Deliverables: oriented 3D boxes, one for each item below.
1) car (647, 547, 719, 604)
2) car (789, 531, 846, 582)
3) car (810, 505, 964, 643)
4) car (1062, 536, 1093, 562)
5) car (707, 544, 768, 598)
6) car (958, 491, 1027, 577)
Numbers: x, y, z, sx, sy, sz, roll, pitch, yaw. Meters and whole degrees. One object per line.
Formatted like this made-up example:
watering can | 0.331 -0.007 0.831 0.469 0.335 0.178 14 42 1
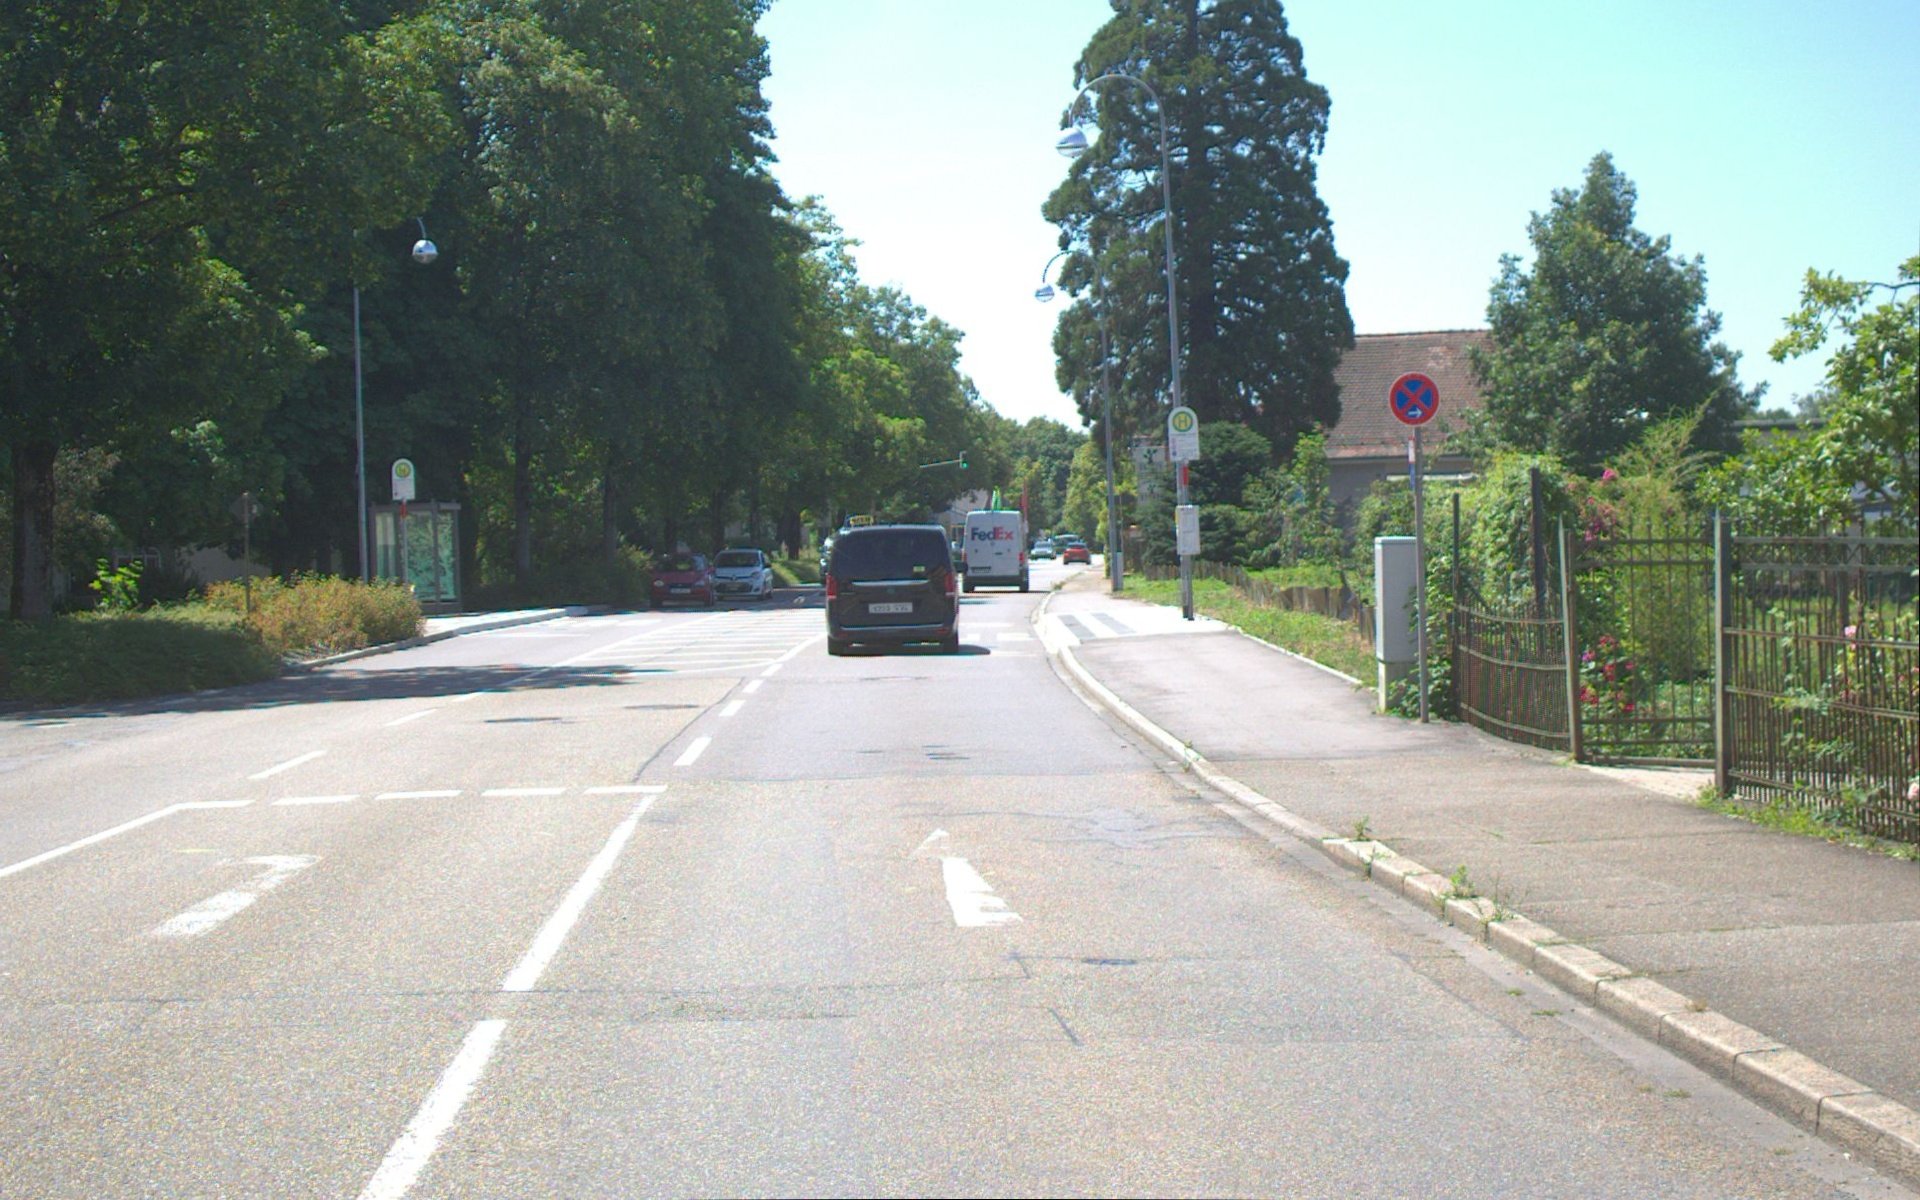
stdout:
car | -7.167 -0.658 89.162 1.550 1.445 3.691 0 1 0
car | -5.586 -1.730 134.101 1.993 1.903 4.992 -1 2 -5
car | -1.013 -0.408 49.678 1.993 1.886 4.000 0 2 2
car | 7.775 -3.387 227.328 1.857 1.637 4.001 0 2 -1
car | -6.342 -0.846 97.896 1.690 1.455 3.640 0 2 -4
car | 1.006 -2.144 109.545 2.120 2.668 5.662 0 2 0
